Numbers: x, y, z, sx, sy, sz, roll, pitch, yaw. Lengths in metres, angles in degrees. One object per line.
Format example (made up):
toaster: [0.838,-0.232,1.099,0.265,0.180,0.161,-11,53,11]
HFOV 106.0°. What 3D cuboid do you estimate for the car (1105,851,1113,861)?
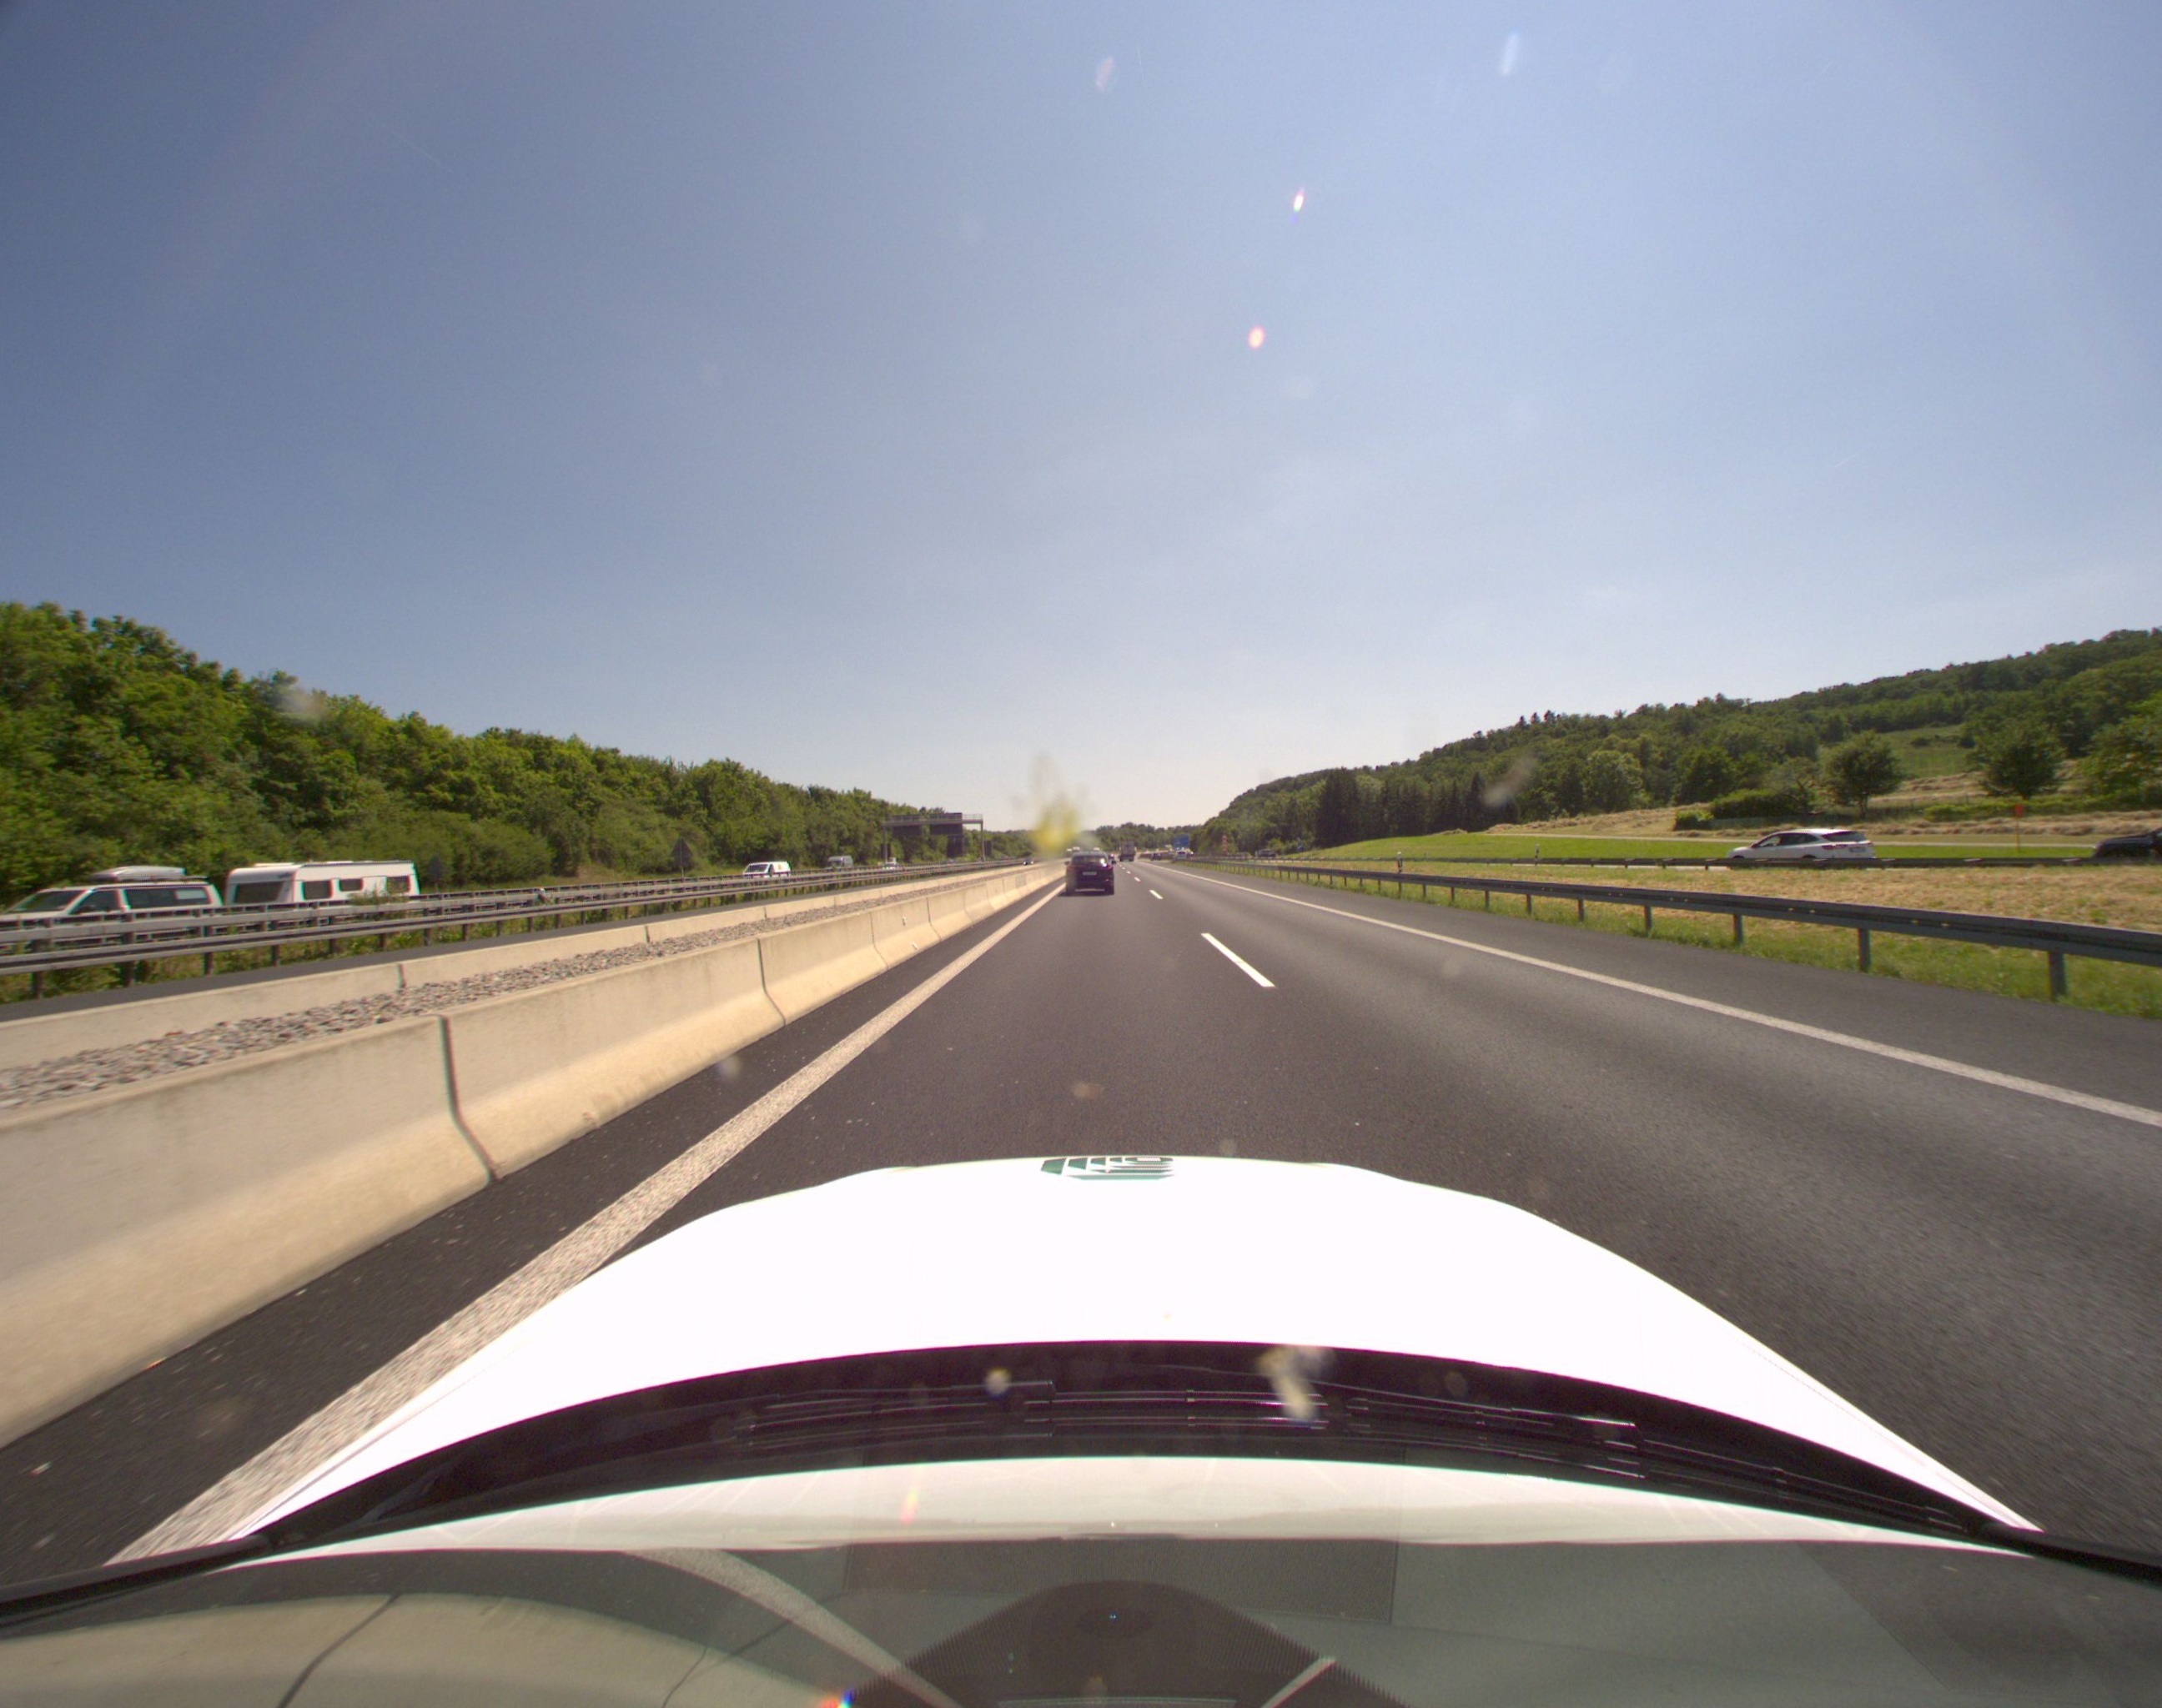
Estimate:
car: [6.829,0.514,199.073,2.130,2.216,5.089,0,-1,2]

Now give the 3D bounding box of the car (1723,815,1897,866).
car: [25.916,-0.434,29.204,1.992,1.662,4.456,0,-1,-7]

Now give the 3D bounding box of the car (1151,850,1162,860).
car: [15.220,0.143,163.463,1.982,2.014,4.010,0,-1,9]

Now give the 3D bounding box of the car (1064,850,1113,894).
car: [0.251,0.653,31.309,1.774,1.577,3.998,0,-1,-1]

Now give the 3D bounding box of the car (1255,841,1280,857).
car: [24.749,-0.657,108.133,1.990,2.013,3.993,-3,0,-5]

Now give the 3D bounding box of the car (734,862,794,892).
car: [-22.221,1.571,57.306,1.986,2.014,5.351,0,-1,2]

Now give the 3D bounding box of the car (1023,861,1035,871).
car: [-8.388,1.885,131.415,1.829,1.534,4.157,0,-1,-1]

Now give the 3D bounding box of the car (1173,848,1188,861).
car: [16.177,0.080,132.679,1.986,2.013,4.001,-2,0,1]

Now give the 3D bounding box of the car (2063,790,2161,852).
car: [30.235,-0.919,21.402,1.988,1.662,5.622,0,-1,-2]

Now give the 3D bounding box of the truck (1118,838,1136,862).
truck: [8.835,-0.764,157.958,3.021,4.418,12.021,0,-1,1]

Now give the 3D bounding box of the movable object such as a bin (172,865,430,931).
movable object such as a bin: [-27.069,1.403,28.817,2.498,2.014,6.780,0,-1,1]

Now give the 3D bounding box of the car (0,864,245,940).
car: [-27.132,1.277,22.934,1.985,1.806,4.820,-3,0,3]
